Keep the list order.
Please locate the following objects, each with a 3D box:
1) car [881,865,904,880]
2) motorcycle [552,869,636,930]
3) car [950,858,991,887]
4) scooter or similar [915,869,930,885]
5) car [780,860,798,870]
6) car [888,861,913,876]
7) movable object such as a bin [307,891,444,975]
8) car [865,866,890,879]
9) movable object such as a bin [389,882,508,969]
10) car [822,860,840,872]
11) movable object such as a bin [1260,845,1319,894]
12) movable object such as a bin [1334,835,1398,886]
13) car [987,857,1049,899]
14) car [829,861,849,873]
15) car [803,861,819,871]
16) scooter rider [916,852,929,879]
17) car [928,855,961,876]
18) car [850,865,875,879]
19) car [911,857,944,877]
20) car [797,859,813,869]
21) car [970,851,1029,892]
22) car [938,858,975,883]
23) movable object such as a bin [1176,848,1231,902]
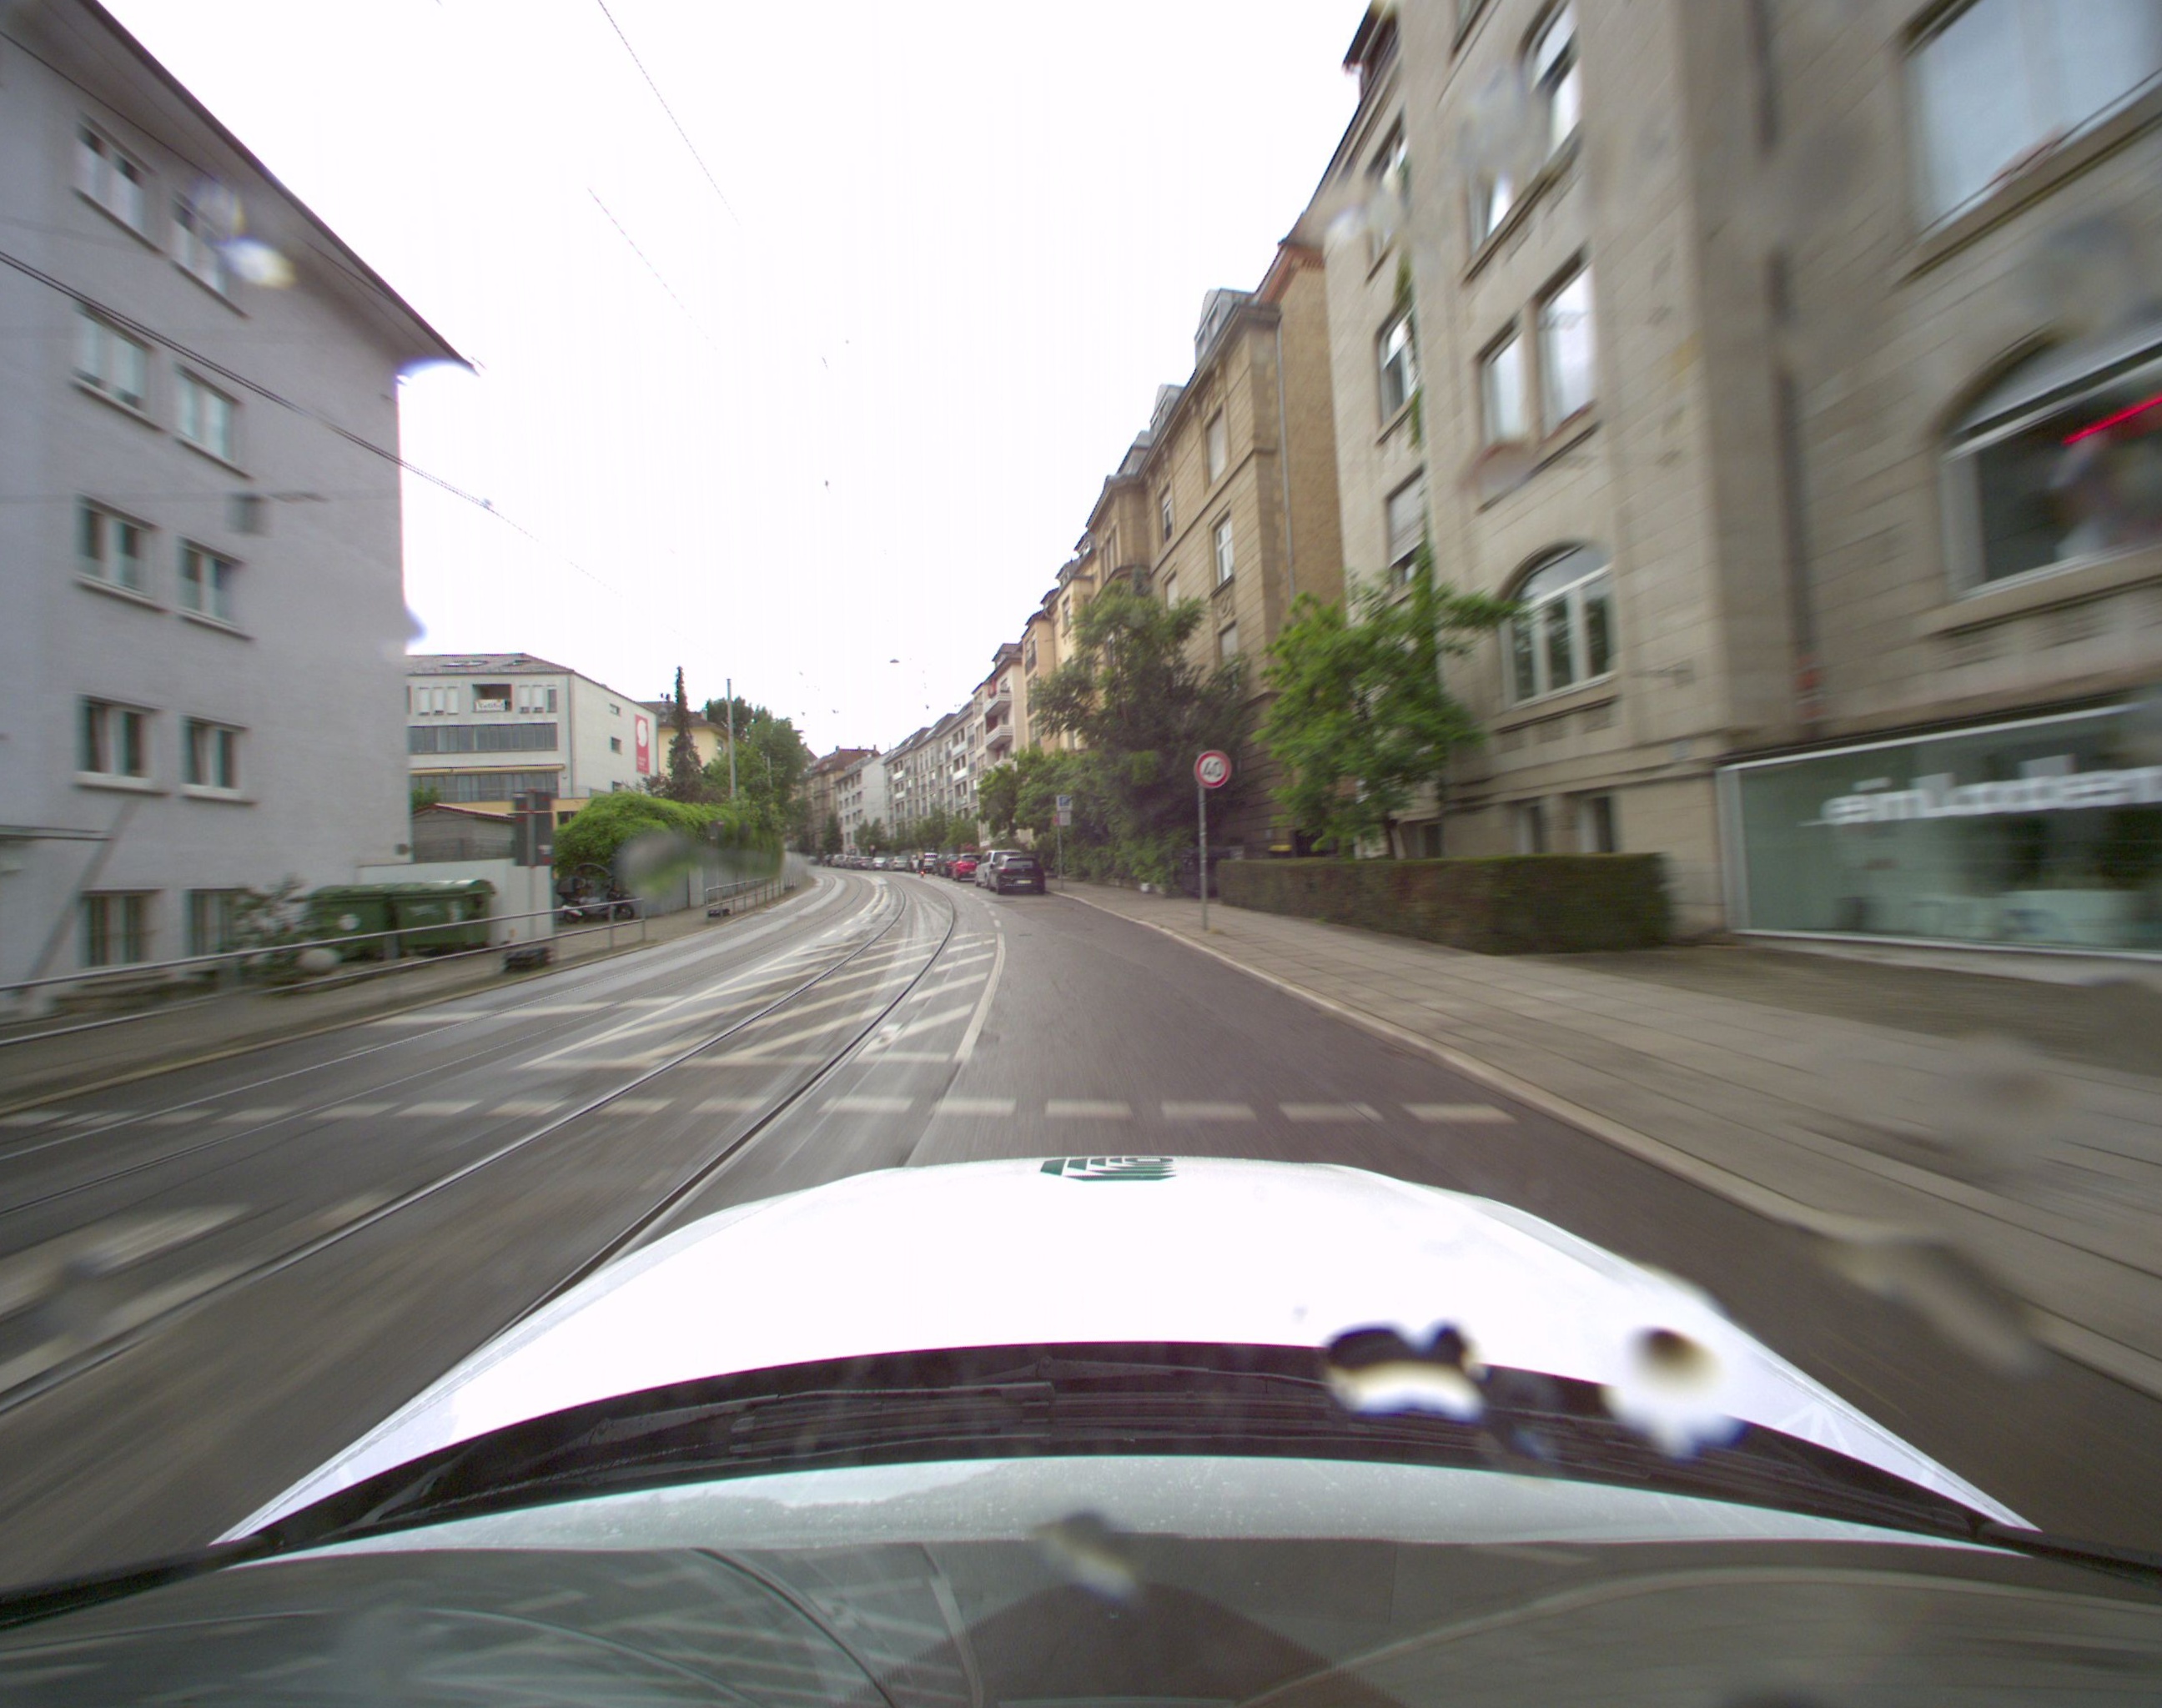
[{"bbox_3d":[-19.629,1.894,84.622,1.709,1.512,3.684,0,0,-24],"label":"car"},{"bbox_3d":[-14.349,1.321,24.052,1.923,1.600,0.594,-4,2,-11],"label":"motorcycle"},{"bbox_3d":[-6.009,0.964,44.007,1.724,1.437,3.822,-1,0,-14],"label":"car"},{"bbox_3d":[-10.215,1.471,52.475,0.516,1.049,1.993,1,-1,-24],"label":"scooter or similar"},{"bbox_3d":[-51.705,1.940,143.963,2.042,1.824,4.322,0,0,-33],"label":"car"},{"bbox_3d":[-17.883,1.436,80.499,1.668,1.472,4.474,0,-1,-22],"label":"car"},{"bbox_3d":[-13.386,1.475,15.519,1.367,1.336,1.323,-4,1,-6],"label":"movable object such as a bin"},{"bbox_3d":[-22.827,2.067,91.280,1.771,1.435,4.599,-2,0,-26],"label":"car"},{"bbox_3d":[-12.098,1.337,15.643,1.184,1.461,1.288,-4,1,-6],"label":"movable object such as a bin"},{"bbox_3d":[-36.921,1.800,120.092,1.777,1.684,4.208,0,0,-29],"label":"car"},{"bbox_3d":[6.130,0.455,23.984,1.218,1.308,1.163,-4,0,-12],"label":"movable object such as a bin"},{"bbox_3d":[8.539,0.193,24.467,1.232,1.425,1.302,-4,0,-12],"label":"movable object such as a bin"},{"bbox_3d":[-2.455,0.850,30.833,1.767,1.390,3.983,-1,1,-13],"label":"car"},{"bbox_3d":[-34.477,1.833,115.785,1.778,1.684,4.207,0,0,-30],"label":"car"},{"bbox_3d":[-43.785,1.973,131.938,1.777,1.518,4.100,0,0,-29],"label":"car"},{"bbox_3d":[-10.171,0.720,52.350,0.626,1.706,0.837,1,-1,-24],"label":"scooter rider"},{"bbox_3d":[-9.629,0.788,57.246,1.561,1.437,4.275,-1,0,-19],"label":"car"},{"bbox_3d":[-26.856,2.185,100.246,1.779,1.615,4.205,-2,0,-32],"label":"car"},{"bbox_3d":[-12.342,1.022,65.275,1.844,1.573,4.218,0,-1,-21],"label":"car"},{"bbox_3d":[-46.200,1.662,136.088,1.661,1.536,3.851,-5,2,-31],"label":"car"},{"bbox_3d":[-3.651,0.765,35.894,1.770,1.603,4.263,-3,0,-17],"label":"car"},{"bbox_3d":[-7.915,1.010,51.560,1.687,1.437,4.040,-1,0,-17],"label":"car"},{"bbox_3d":[3.475,0.584,23.109,1.229,1.403,0.817,-4,2,-20],"label":"movable object such as a bin"}]
